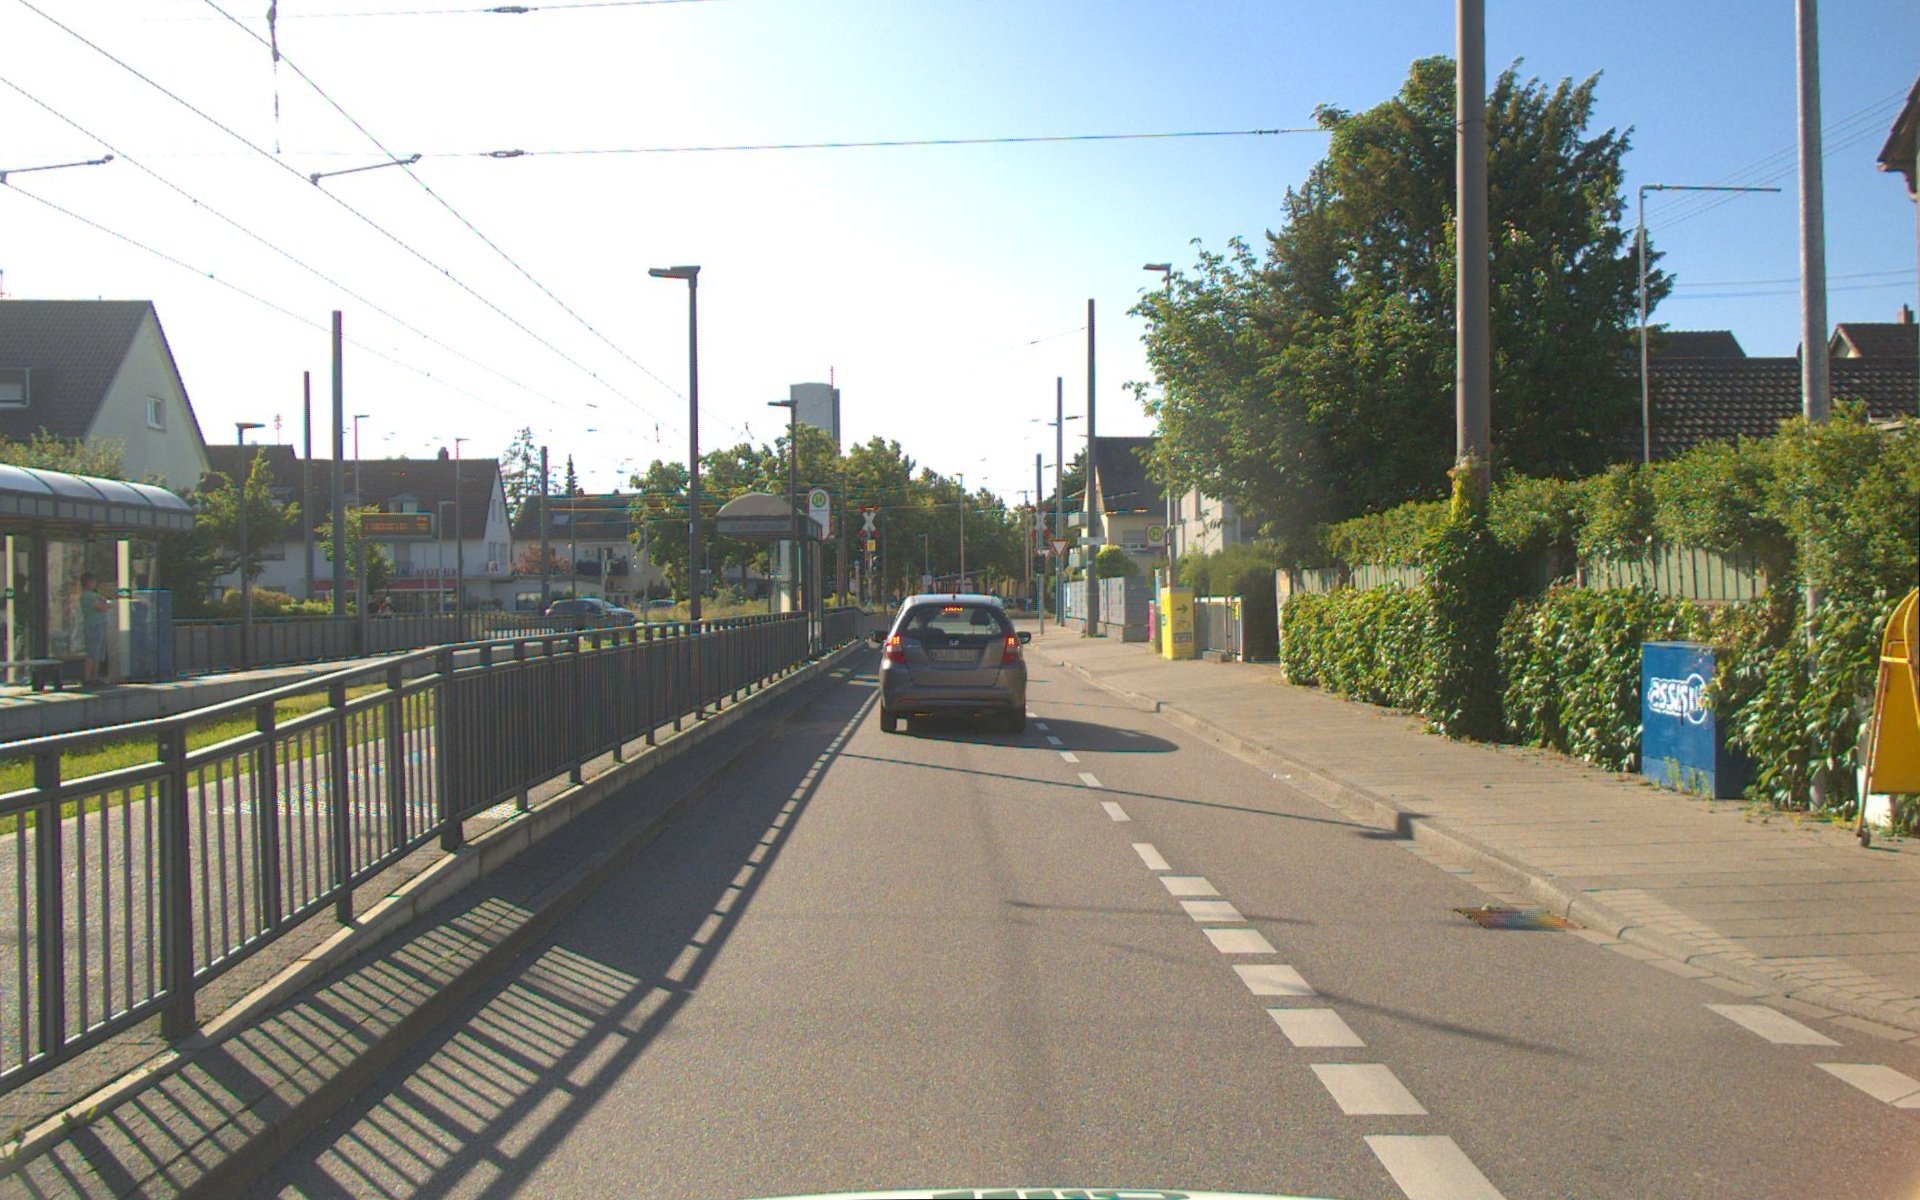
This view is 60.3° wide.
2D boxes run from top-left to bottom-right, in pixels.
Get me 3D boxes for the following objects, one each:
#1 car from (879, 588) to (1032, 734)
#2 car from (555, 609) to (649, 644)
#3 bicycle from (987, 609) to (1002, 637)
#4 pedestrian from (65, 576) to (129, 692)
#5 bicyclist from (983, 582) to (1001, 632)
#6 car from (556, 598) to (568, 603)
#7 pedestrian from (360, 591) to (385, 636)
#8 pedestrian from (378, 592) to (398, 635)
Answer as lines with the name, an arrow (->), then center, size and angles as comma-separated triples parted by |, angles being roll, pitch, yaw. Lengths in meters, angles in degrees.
car -> -0.098, 0.654, 19.585 | 1.637, 1.562, 3.486 | 1, 0, -2
car -> -16.630, 1.228, 76.903 | 3.904, 1.556, 1.808 | 0, -1, 20
bicycle -> 1.215, 0.810, 58.022 | 0.465, 0.978, 1.657 | 1, -1, 0
pedestrian -> -13.213, 0.506, 25.344 | 0.490, 1.726, 0.771 | -3, 0, 0
bicyclist -> 1.106, 0.239, 57.866 | 0.586, 1.731, 0.683 | 1, -1, -1
car -> -25.836, 0.037, 107.463 | 0.684, 0.342, 0.329 | 1, -1, 4
pedestrian -> -23.745, 0.524, 66.858 | 0.714, 1.793, 0.771 | -1, 0, -3
pedestrian -> -23.536, 0.548, 68.012 | 0.581, 1.763, 0.689 | -1, 0, -3
